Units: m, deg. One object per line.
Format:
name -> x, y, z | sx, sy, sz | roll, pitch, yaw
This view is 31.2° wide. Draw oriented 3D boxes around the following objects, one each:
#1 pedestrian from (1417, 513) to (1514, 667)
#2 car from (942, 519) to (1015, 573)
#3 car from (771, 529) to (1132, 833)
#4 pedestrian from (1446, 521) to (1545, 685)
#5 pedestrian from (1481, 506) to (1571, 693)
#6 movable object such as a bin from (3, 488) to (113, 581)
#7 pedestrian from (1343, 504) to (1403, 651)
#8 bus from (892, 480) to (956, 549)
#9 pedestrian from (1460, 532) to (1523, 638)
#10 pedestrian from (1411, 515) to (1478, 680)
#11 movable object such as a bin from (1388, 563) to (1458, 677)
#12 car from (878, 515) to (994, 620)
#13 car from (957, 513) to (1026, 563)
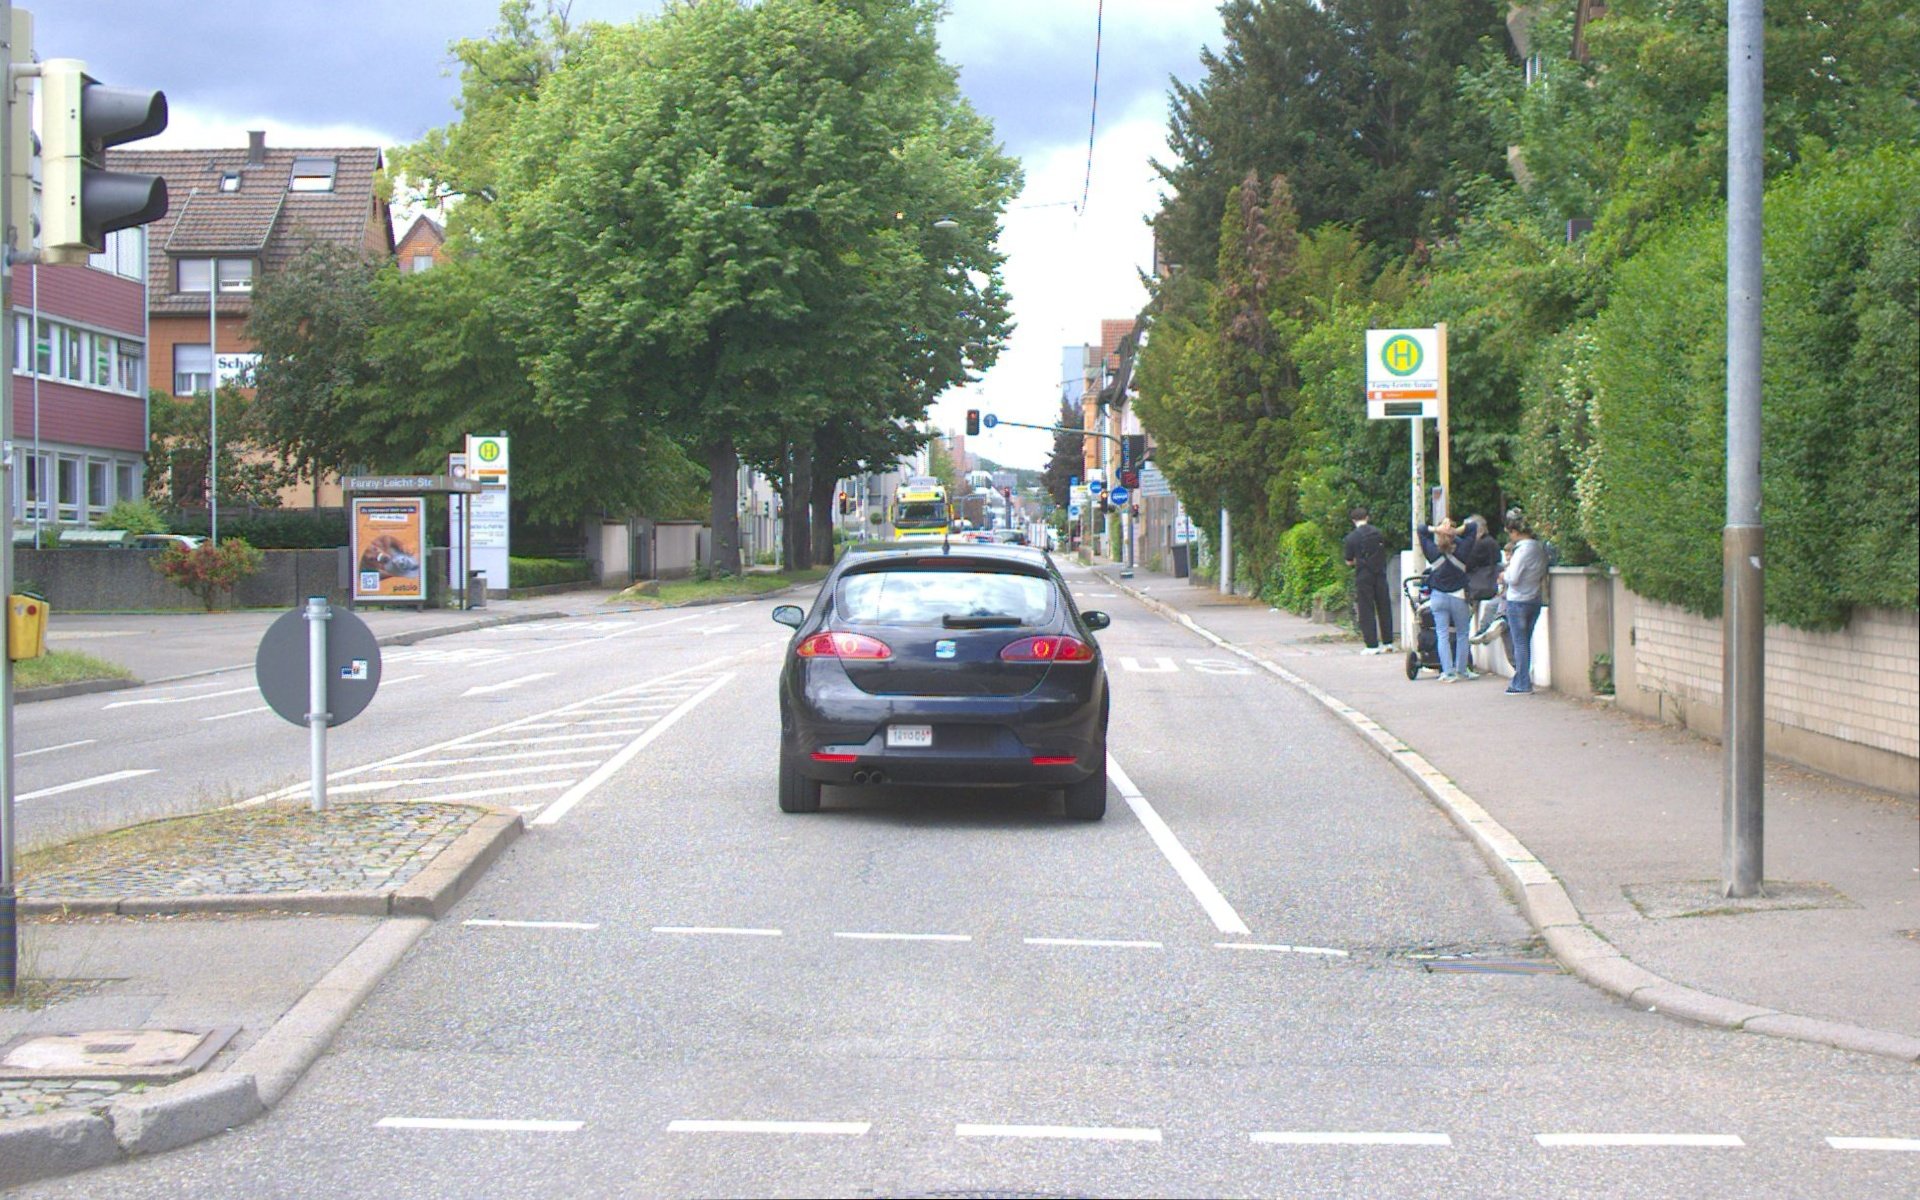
pedestrian -> 5.031, -0.103, 34.241 | 0.779, 1.495, 0.605 | -2, 1, -5
car -> 0.525, -1.572, 99.549 | 1.941, 1.476, 4.253 | -1, 2, -2
car -> -0.134, 0.371, 19.045 | 1.759, 1.444, 3.715 | 2, 1, -3
pedestrian -> 4.805, 0.027, 30.830 | 0.620, 1.422, 0.512 | -2, 2, 39
pedestrian -> 4.837, -0.008, 29.377 | 0.543, 1.550, 0.471 | -4, 2, -8
movable object such as a bin -> -19.817, -1.440, 75.605 | 1.993, 2.007, 1.543 | -1, 1, 0
pedestrian -> 4.886, -0.265, 40.703 | 0.585, 1.706, 0.530 | -2, 1, 0
bus -> -1.655, -3.968, 159.261 | 2.868, 3.125, 6.398 | -1, 2, 0
pedestrian -> 5.036, -0.143, 32.561 | 0.454, 0.961, 0.383 | -4, 2, -5
pedestrian -> 4.567, -0.027, 32.419 | 0.550, 1.512, 0.361 | -3, 2, 10
movable object such as a bin -> 4.488, 0.189, 33.310 | 0.441, 1.054, 0.567 | -3, 2, 27
car -> -0.377, -0.586, 59.368 | 1.819, 1.693, 4.253 | -1, 2, 2
car -> 1.106, -2.148, 118.656 | 1.994, 1.678, 3.999 | 0, 1, 6
